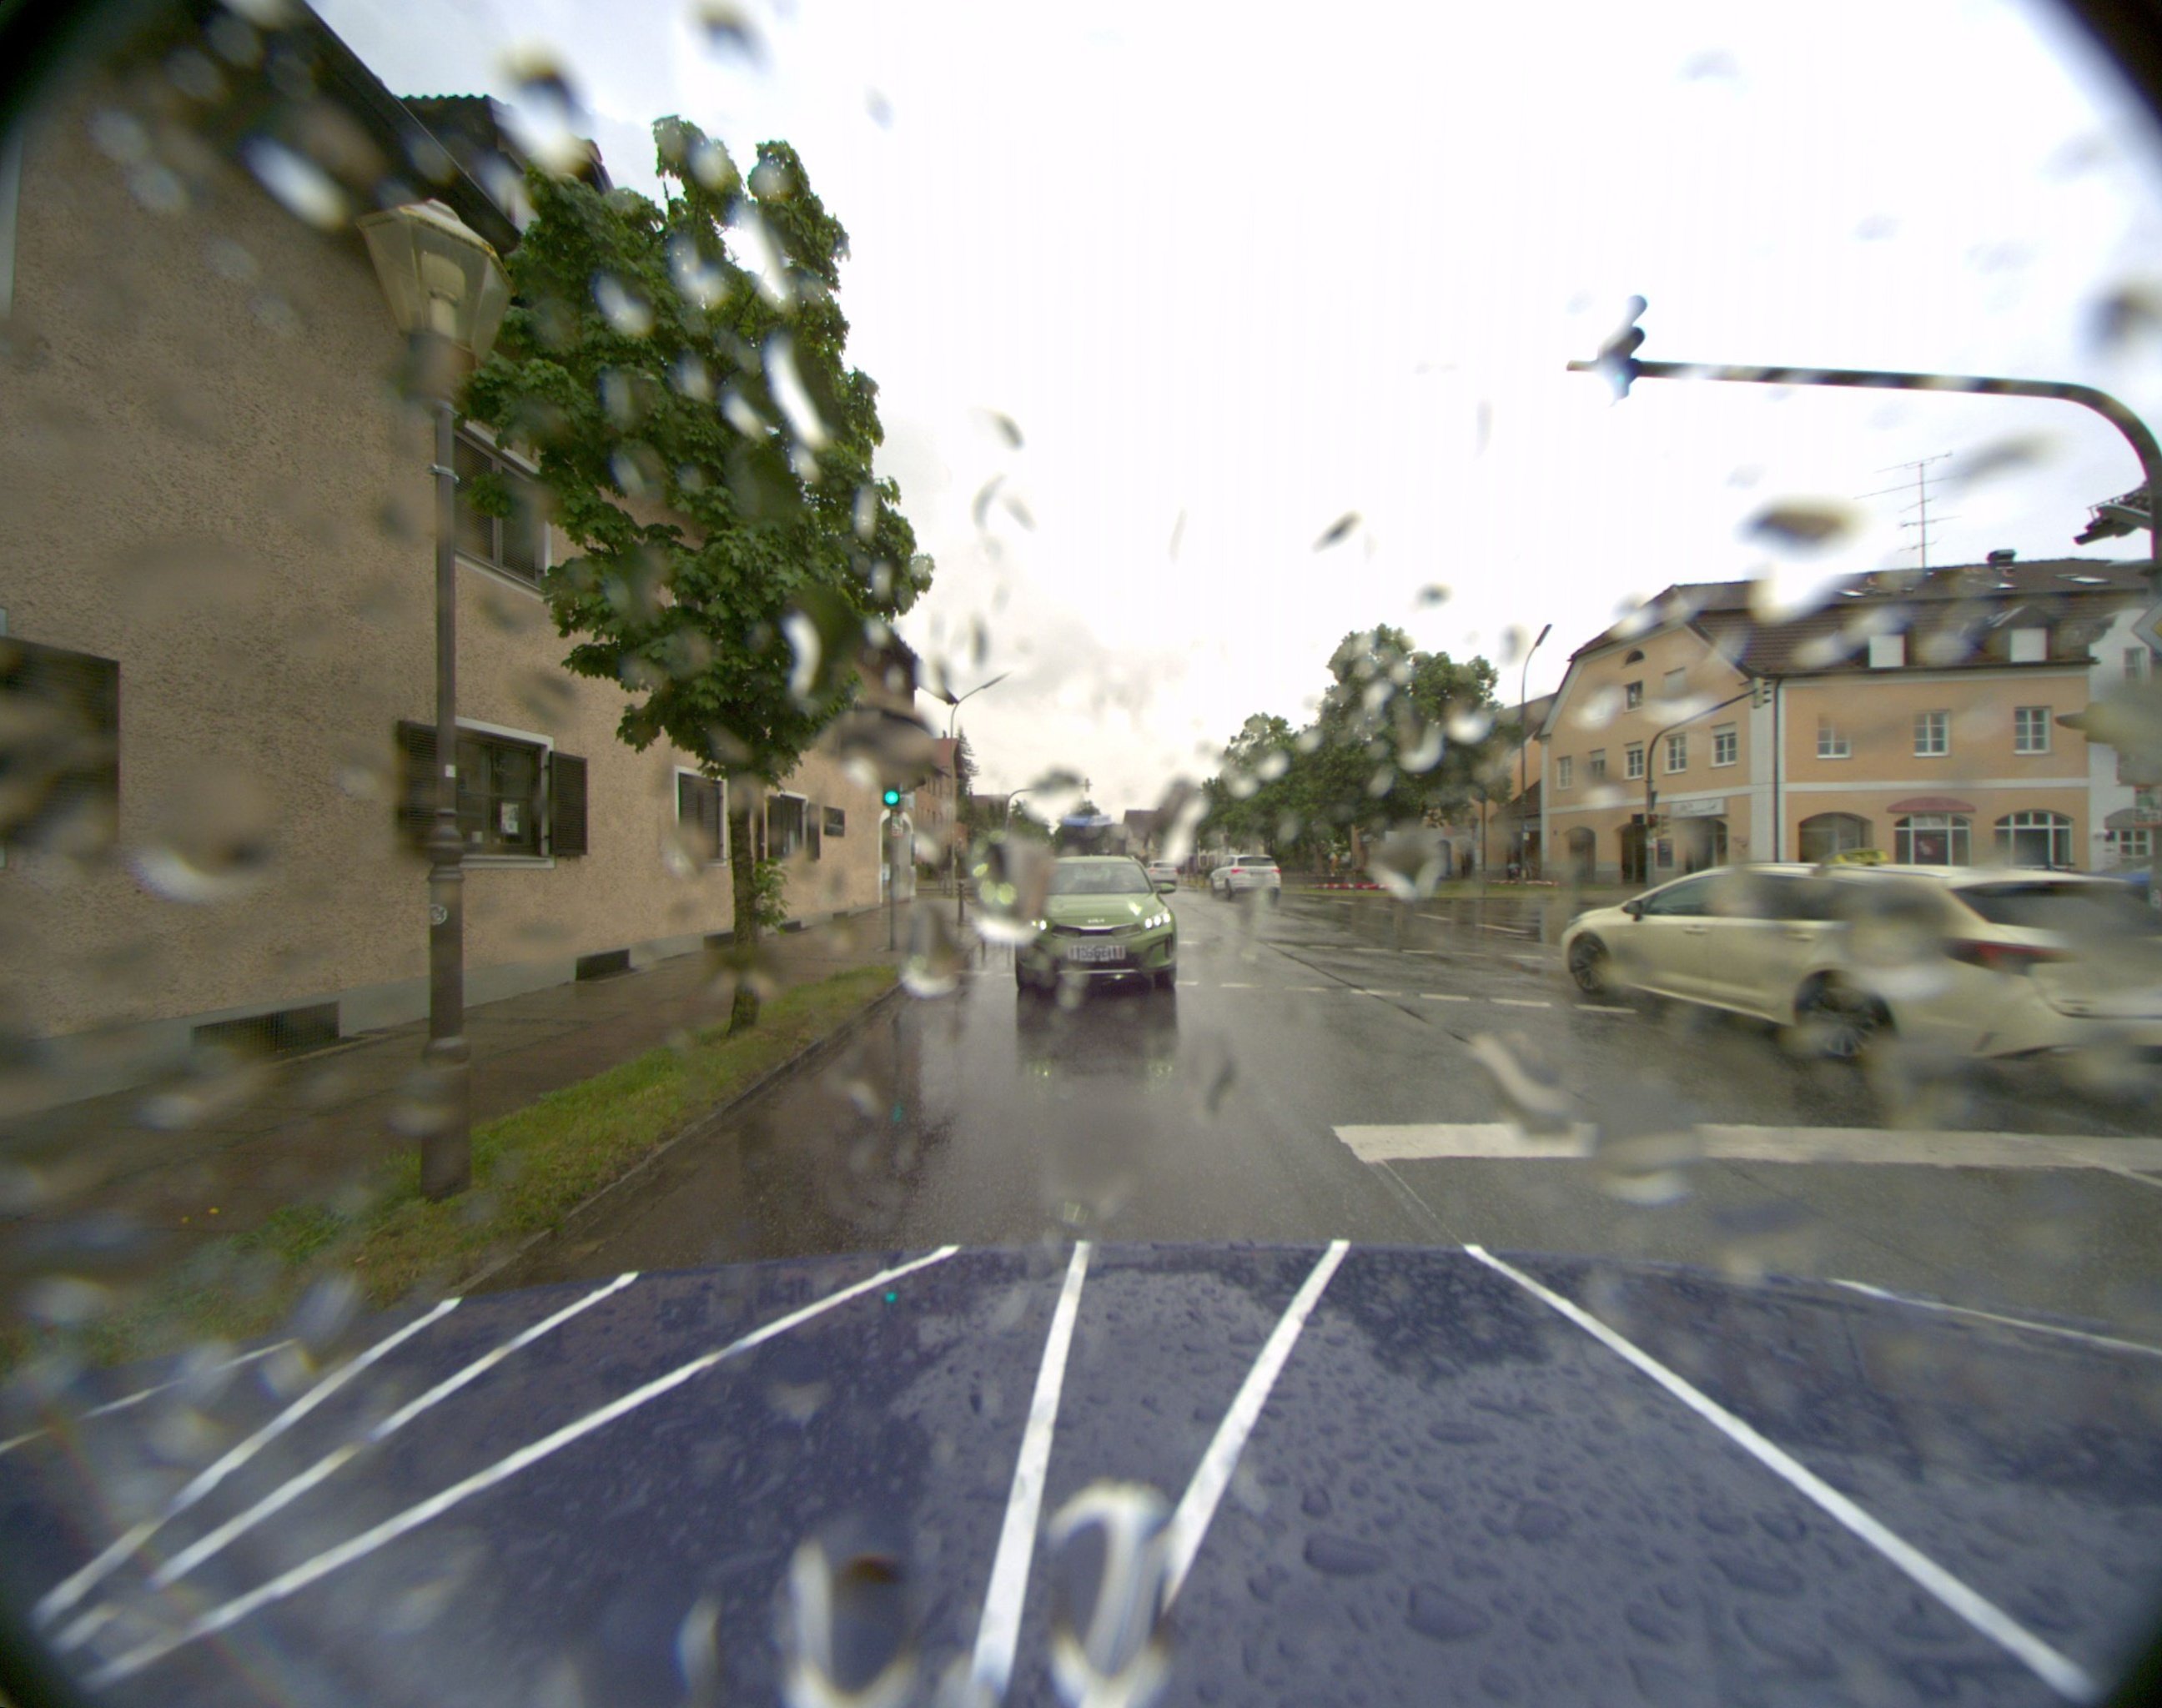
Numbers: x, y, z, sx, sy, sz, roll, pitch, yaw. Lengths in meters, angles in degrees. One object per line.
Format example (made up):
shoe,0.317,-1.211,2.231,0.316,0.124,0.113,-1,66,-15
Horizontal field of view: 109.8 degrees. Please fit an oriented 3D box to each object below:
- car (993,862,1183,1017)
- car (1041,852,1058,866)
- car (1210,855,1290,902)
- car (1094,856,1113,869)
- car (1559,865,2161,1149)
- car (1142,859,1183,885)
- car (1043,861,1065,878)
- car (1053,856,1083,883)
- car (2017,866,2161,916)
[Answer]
car,0.100,0.883,9.718,1.872,1.504,4.105,-2,0,1
car,-4.657,0.658,110.855,2.218,1.977,4.952,1,0,-5
car,5.996,0.811,27.457,1.931,1.557,4.125,0,0,-1
car,2.611,0.987,89.863,1.921,1.524,3.898,0,0,-2
car,6.208,0.892,6.341,1.756,1.502,4.230,1,0,0
car,5.032,1.087,47.414,1.972,1.553,4.150,0,0,-3
car,-2.511,1.405,71.629,1.839,1.508,4.669,1,0,1
car,-0.732,0.898,44.930,1.637,1.508,4.000,1,0,1
car,27.183,0.904,19.169,4.352,1.178,1.691,0,0,15
